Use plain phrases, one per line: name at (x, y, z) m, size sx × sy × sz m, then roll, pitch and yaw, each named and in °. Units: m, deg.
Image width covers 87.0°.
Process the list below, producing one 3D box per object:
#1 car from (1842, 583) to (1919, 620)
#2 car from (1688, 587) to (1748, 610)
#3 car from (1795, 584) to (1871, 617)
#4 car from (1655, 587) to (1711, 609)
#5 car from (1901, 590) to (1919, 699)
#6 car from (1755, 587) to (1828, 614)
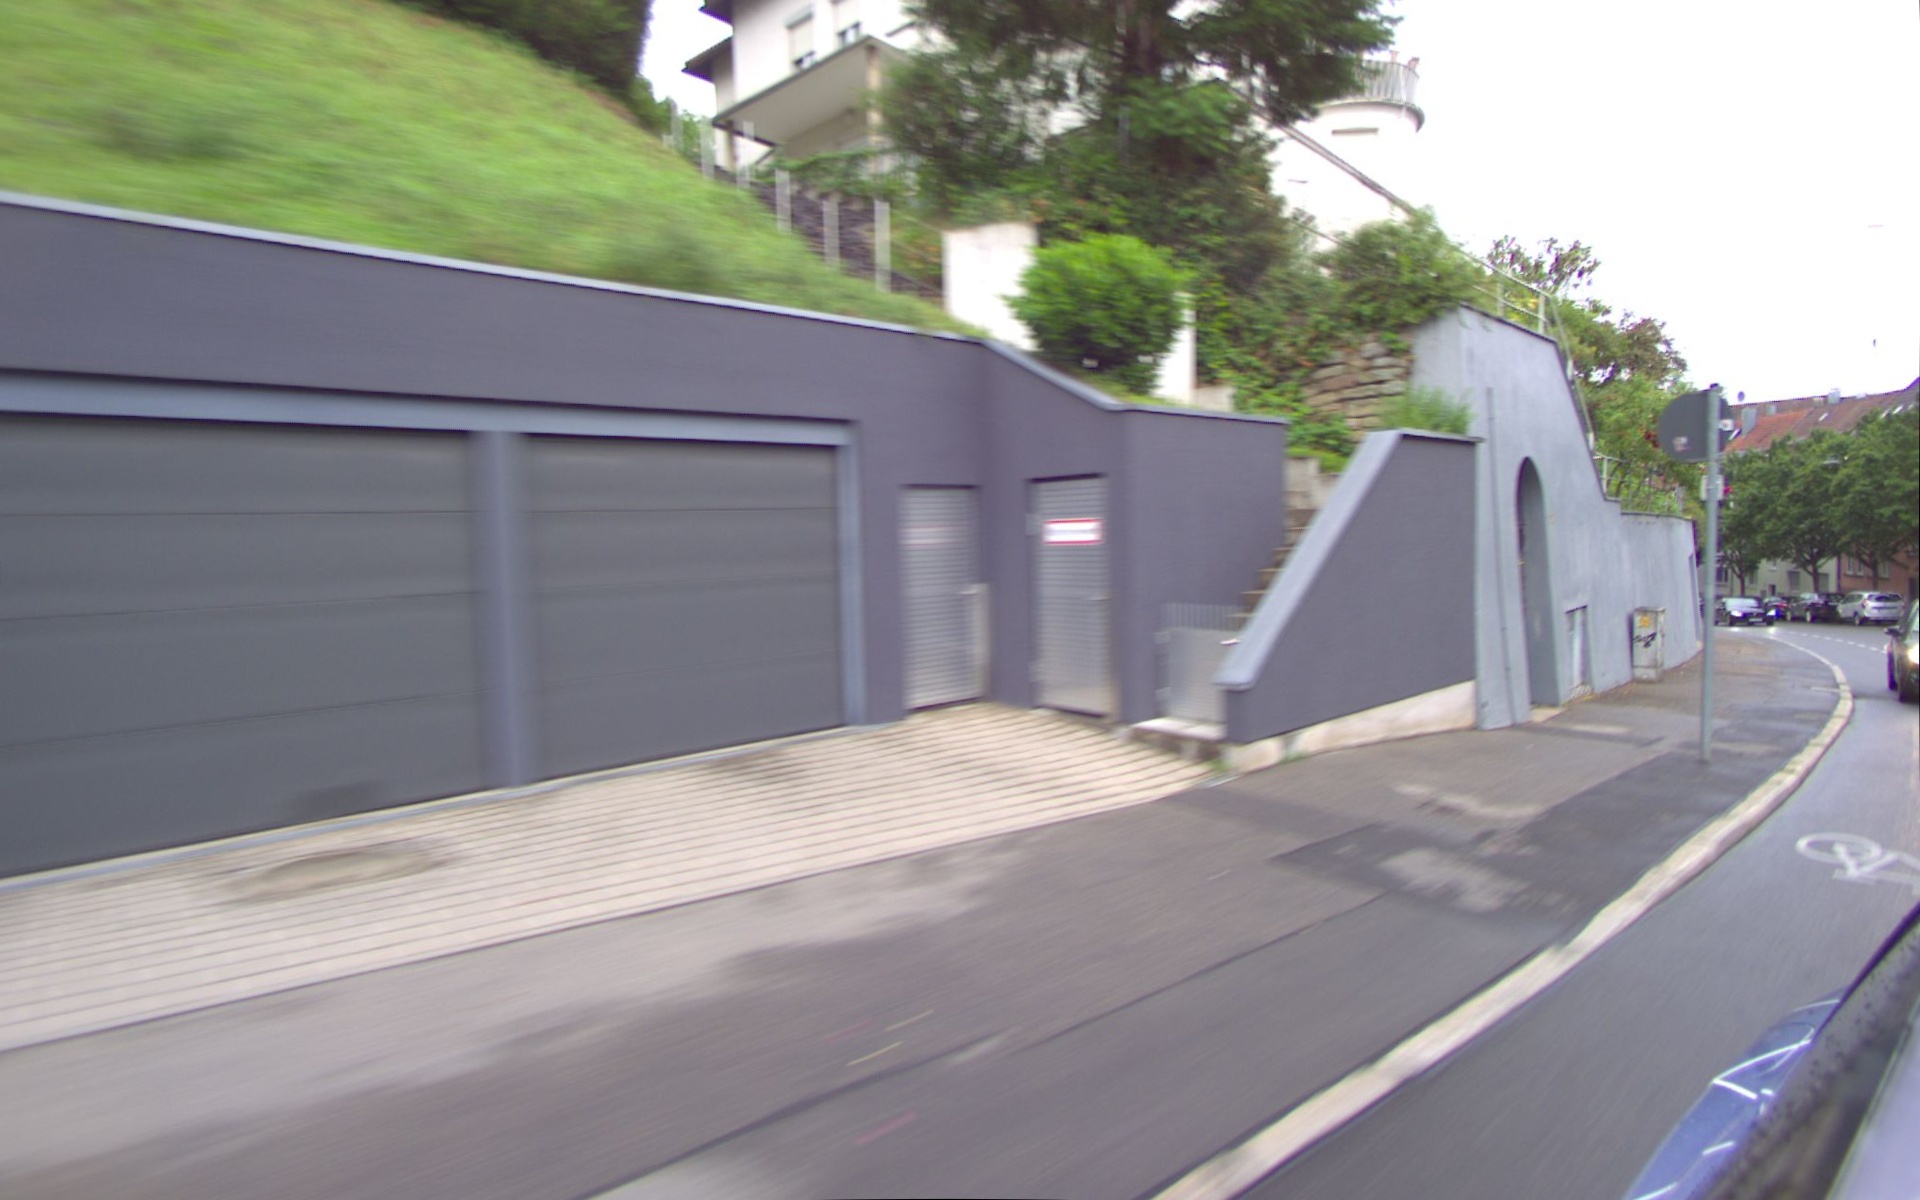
car at (44.684, 0.047, 49.084) m, size 1.735 × 1.711 × 4.557 m, roll -1°, pitch 0°, yaw 27°
car at (52.391, -0.080, 70.042) m, size 1.767 × 1.512 × 4.341 m, roll -1°, pitch 0°, yaw 15°
car at (46.862, 0.003, 54.425) m, size 1.773 × 1.662 × 4.445 m, roll -1°, pitch 0°, yaw 23°
car at (53.619, -0.136, 75.150) m, size 1.767 × 1.512 × 4.623 m, roll -2°, pitch 0°, yaw 15°
car at (14.892, 0.553, 14.559) m, size 3.934 × 1.483 × 1.694 m, roll 0°, pitch -3°, yaw -44°
car at (48.791, 0.003, 59.516) m, size 1.769 × 1.512 × 4.337 m, roll -1°, pitch 0°, yaw 17°
